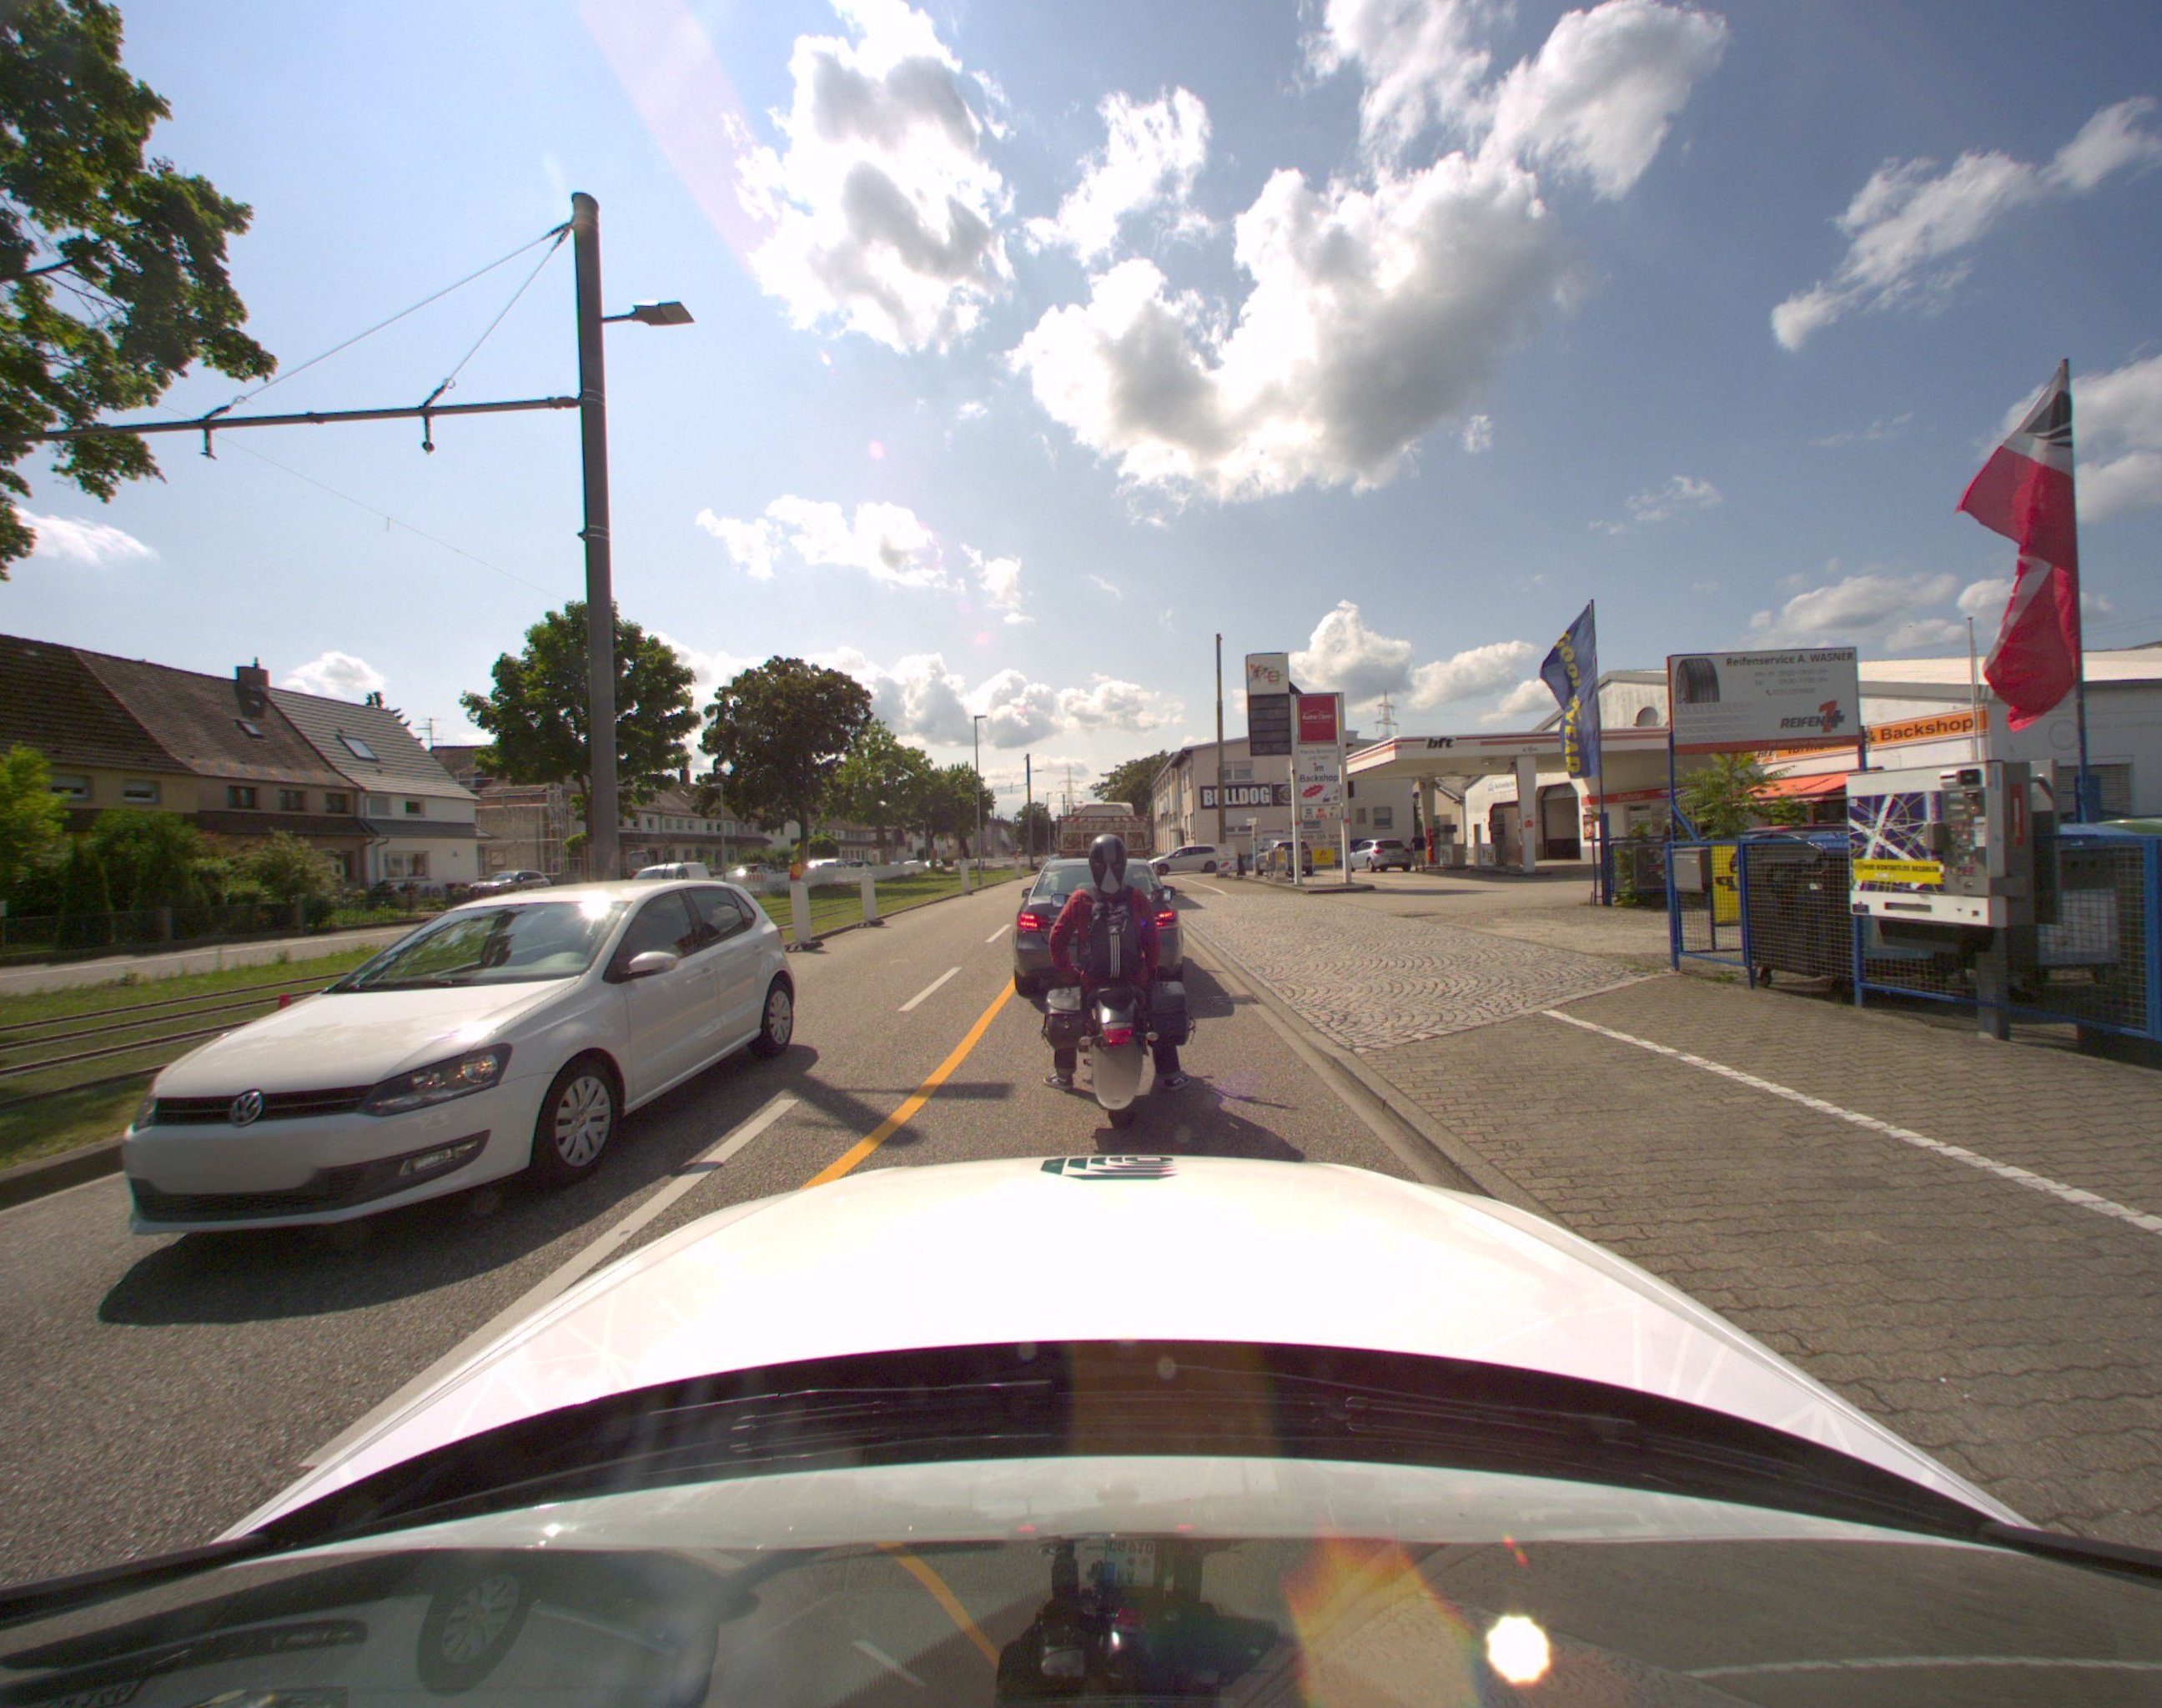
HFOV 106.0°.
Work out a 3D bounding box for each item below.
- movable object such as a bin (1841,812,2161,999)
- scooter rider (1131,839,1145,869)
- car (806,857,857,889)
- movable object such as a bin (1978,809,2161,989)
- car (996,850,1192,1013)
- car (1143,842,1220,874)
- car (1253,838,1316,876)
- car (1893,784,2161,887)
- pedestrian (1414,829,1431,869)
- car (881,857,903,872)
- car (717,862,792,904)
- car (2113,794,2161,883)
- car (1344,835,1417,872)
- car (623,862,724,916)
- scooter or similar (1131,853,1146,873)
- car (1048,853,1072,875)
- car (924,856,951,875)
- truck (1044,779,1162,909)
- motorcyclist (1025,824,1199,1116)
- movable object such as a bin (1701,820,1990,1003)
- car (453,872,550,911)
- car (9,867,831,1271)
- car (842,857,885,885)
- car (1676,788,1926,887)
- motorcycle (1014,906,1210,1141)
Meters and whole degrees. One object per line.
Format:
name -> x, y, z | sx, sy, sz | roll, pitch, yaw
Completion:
movable object such as a bin -> 8.104, 0.414, 7.281 | 1.222, 1.454, 1.455 | -2, 0, 0
scooter rider -> 3.467, 0.010, 49.659 | 0.792, 1.818, 0.508 | -2, 0, 1
car -> -15.090, 1.109, 49.393 | 1.692, 1.739, 3.862 | -2, 0, 2
movable object such as a bin -> 9.449, 0.334, 7.191 | 1.425, 1.454, 1.455 | -2, 0, 0
car -> 0.155, 0.740, 9.859 | 1.826, 1.479, 4.009 | -3, 0, 1
car -> 5.767, 0.225, 47.050 | 4.100, 1.624, 1.682 | -3, 0, -7
car -> 9.069, 0.120, 36.577 | 1.826, 1.536, 4.009 | -3, 0, 1
car -> 21.250, -0.402, 18.270 | 3.972, 2.013, 2.001 | -2, 0, 1
pedestrian -> 14.843, -0.212, 35.389 | 0.628, 1.683, 0.626 | -2, 0, 23
car -> -24.375, 1.338, 105.367 | 1.692, 1.739, 4.064 | -2, 0, 2
car -> -15.324, 1.322, 38.488 | 1.692, 1.739, 4.056 | -2, 0, 2
car -> 26.353, -0.435, 18.185 | 3.972, 2.013, 2.001 | -2, 0, 1
car -> 13.539, -0.025, 37.069 | 1.826, 1.479, 4.009 | -3, 0, 1
car -> -15.417, 1.275, 31.058 | 1.692, 1.817, 3.862 | -2, 0, 2
scooter or similar -> 3.491, 0.536, 49.595 | 0.792, 1.144, 1.520 | -2, 0, 2
car -> -1.659, 0.796, 66.420 | 1.674, 1.624, 4.120 | -2, 0, 1
car -> -14.131, 1.145, 80.322 | 1.692, 1.739, 3.862 | -2, 0, 2
truck -> 0.643, -0.284, 25.605 | 2.960, 3.304, 8.407 | -2, 0, 1
motorcyclist -> 0.194, 0.652, 5.197 | 0.966, 1.633, 1.215 | -1, 0, 1
movable object such as a bin -> 6.825, 0.469, 7.405 | 1.222, 1.454, 1.455 | -2, 0, 0
car -> -27.478, 1.728, 38.795 | 1.692, 1.593, 3.862 | -2, 0, 2
car -> -3.232, 0.871, 5.296 | 1.709, 1.413, 4.264 | -2, 0, 2
car -> -14.866, 1.137, 55.759 | 1.692, 1.739, 3.862 | -2, 0, 2
car -> 16.602, -0.373, 18.962 | 3.972, 2.013, 2.001 | -2, 0, 1
motorcycle -> 0.195, 0.931, 5.314 | 0.972, 1.013, 2.433 | -1, 0, 2
